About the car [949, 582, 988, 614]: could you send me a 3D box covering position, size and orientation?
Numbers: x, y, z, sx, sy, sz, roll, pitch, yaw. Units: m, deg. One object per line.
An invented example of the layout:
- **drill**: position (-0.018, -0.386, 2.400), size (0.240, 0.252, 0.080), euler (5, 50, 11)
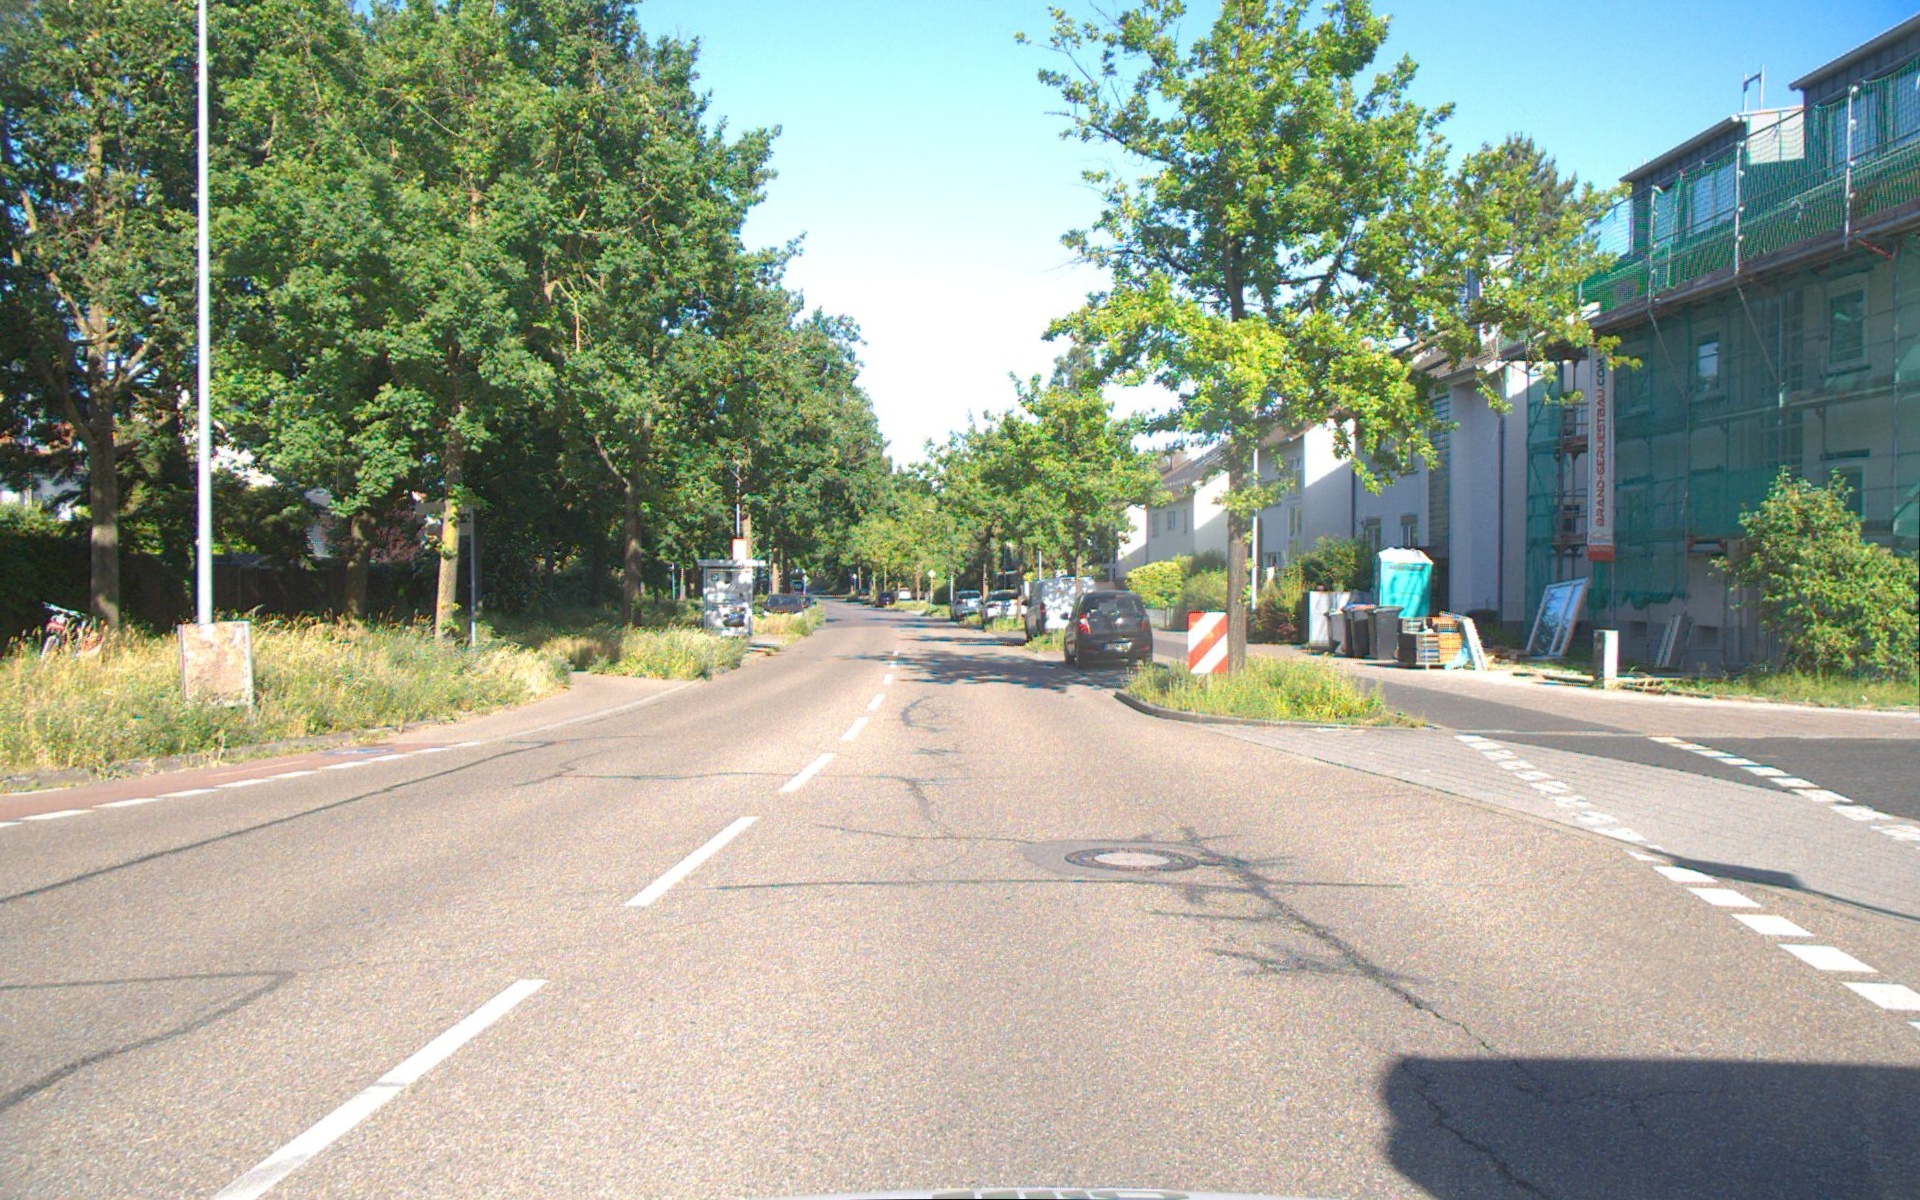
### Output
- **car**: position (0.443, -0.111, 92.708), size (1.895, 1.773, 3.997), euler (0, 0, -4)

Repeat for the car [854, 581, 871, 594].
- **car**: position (-11.199, -1.379, 189.543), size (1.895, 1.479, 3.996), euler (0, 0, -5)

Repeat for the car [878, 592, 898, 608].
- **car**: position (-7.042, 0.012, 161.682), size (1.895, 1.569, 3.997), euler (0, 0, -4)

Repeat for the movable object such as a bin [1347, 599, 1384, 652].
- **movable object such as a bin**: position (8.453, 0.531, 34.509), size (0.591, 1.088, 0.646), euler (0, 0, -2)

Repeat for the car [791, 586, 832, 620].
- **car**: position (-7.331, 0.152, 81.385), size (1.955, 1.584, 3.995), euler (1, 0, -6)

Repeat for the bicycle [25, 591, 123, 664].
- **bicycle**: position (-13.500, 0.404, 25.251), size (0.495, 1.072, 1.880), euler (0, 0, -1)

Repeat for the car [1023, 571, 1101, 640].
- **car**: position (3.024, 0.148, 50.051), size (1.799, 2.005, 4.755), euler (0, 0, -4)

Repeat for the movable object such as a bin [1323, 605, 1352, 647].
- **movable object such as a bin**: position (8.505, 0.585, 37.294), size (0.518, 0.948, 0.549), euler (0, 0, -2)

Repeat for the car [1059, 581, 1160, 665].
- **car**: position (3.074, 0.443, 34.686), size (1.638, 1.606, 3.750), euler (-2, 0, -2)

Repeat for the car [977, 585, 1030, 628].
- **car**: position (1.822, 0.259, 70.236), size (1.897, 1.734, 3.997), euler (0, 0, -4)

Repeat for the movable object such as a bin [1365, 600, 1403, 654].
- **movable object such as a bin**: position (8.586, 0.538, 33.496), size (0.591, 1.088, 0.646), euler (0, 0, -2)

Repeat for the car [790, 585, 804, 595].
- **car**: position (-24.156, -1.497, 245.128), size (1.895, 1.479, 3.996), euler (0, 0, -5)

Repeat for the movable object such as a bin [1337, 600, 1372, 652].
- **movable object such as a bin**: position (8.416, 0.554, 35.300), size (0.591, 1.088, 0.567), euler (0, 0, -2)

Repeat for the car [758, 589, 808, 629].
- **car**: position (-6.938, 0.332, 65.109), size (1.898, 1.505, 3.996), euler (0, 0, -5)

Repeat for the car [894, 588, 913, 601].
- **car**: position (-6.439, -0.663, 187.850), size (1.895, 1.479, 3.996), euler (0, 0, -5)
